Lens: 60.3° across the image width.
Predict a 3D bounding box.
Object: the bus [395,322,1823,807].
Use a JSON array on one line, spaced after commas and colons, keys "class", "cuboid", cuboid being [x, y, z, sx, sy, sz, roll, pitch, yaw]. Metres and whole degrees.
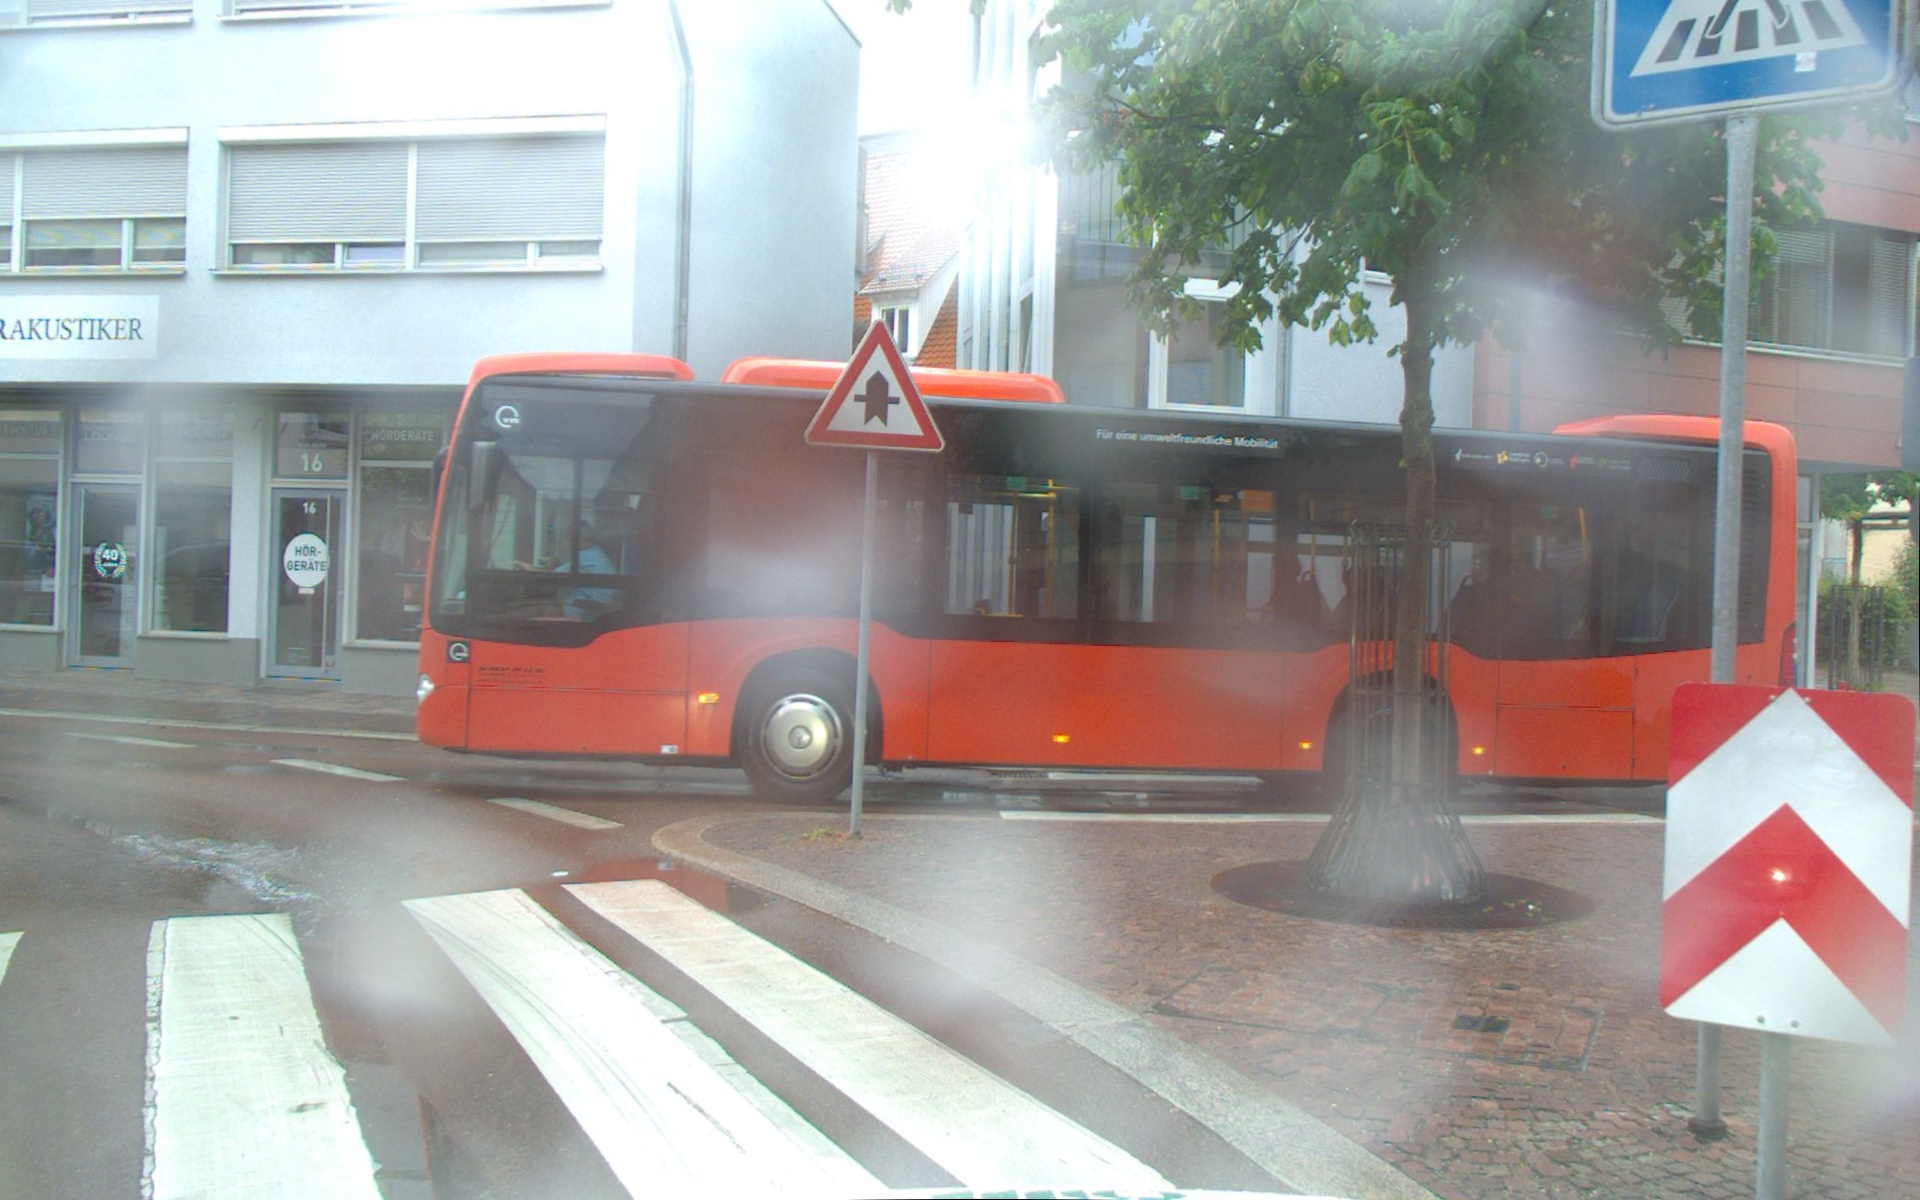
[{"class": "bus", "cuboid": [1.237, -0.112, 13.090, 10.380, 3.143, 2.815, 1, -1, -10]}]
